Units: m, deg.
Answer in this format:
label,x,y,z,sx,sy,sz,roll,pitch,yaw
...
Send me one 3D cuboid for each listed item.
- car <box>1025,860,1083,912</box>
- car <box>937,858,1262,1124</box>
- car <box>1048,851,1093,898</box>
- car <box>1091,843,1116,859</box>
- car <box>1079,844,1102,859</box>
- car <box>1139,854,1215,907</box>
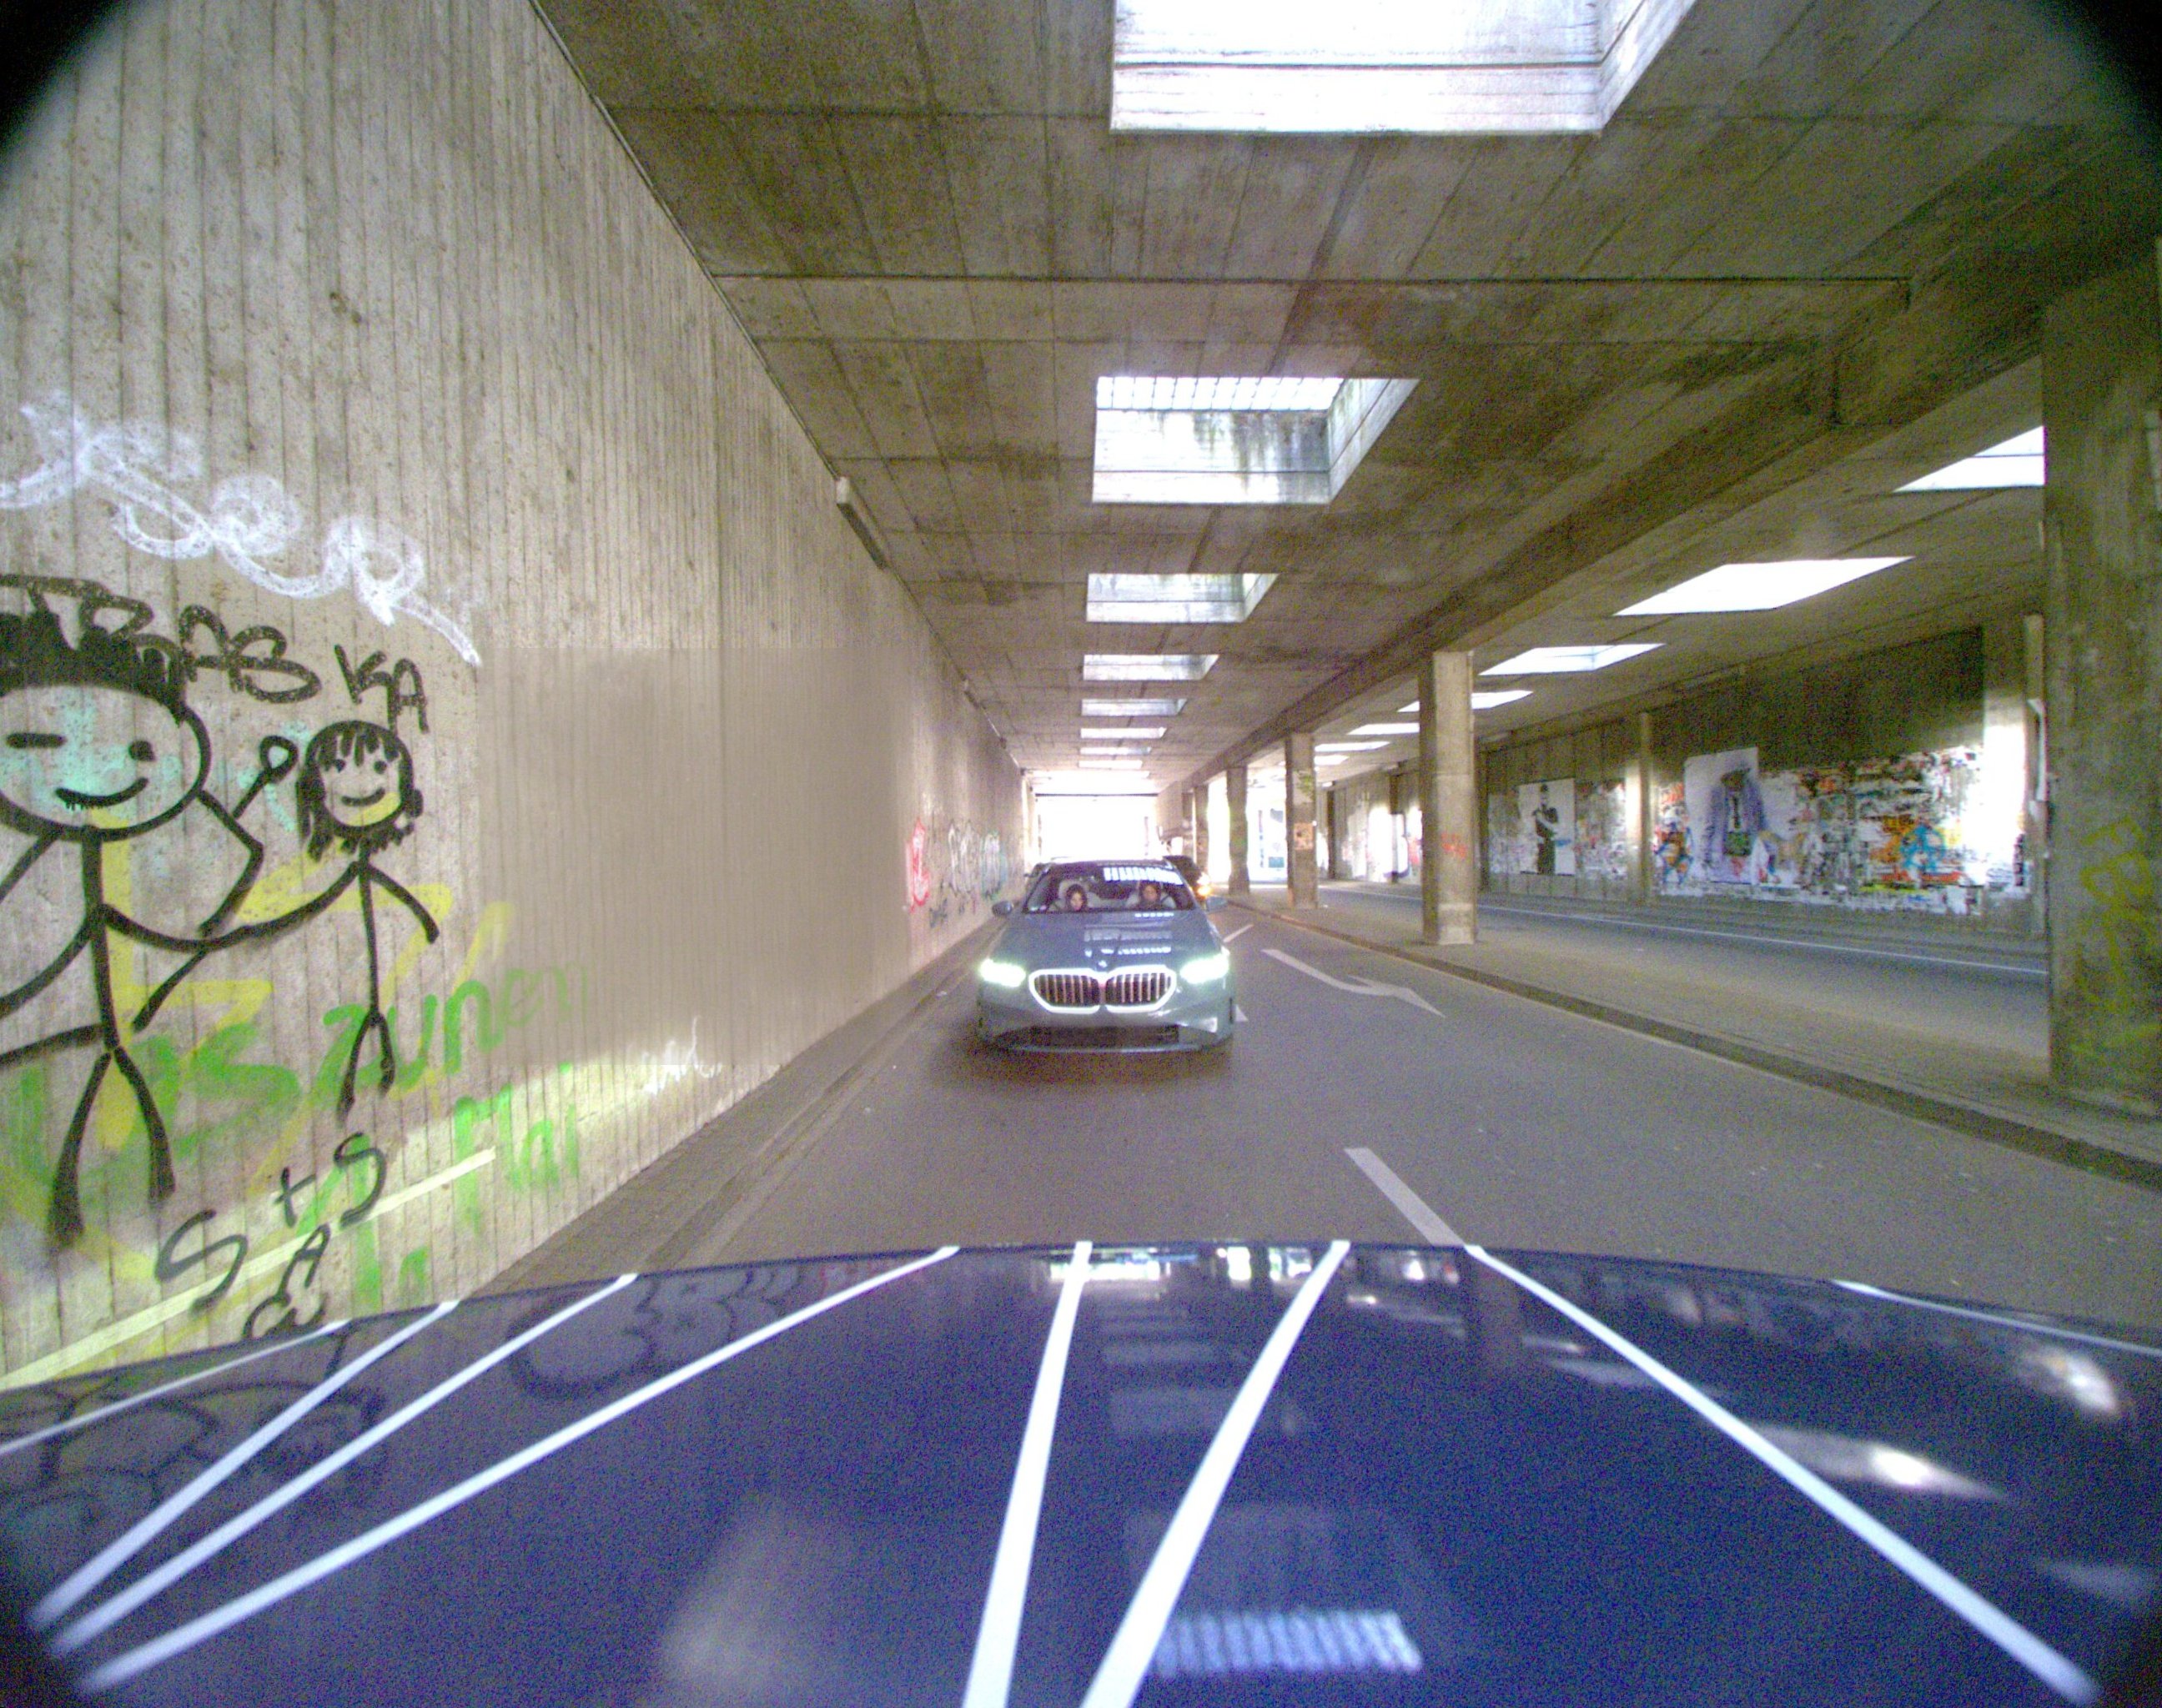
label,x,y,z,sx,sy,sz,roll,pitch,yaw
car,-0.783,0.942,23.906,1.593,1.387,3.833,-2,0,1
car,0.191,0.878,7.332,1.998,1.594,5.176,-1,0,2
car,-0.360,0.761,29.913,1.581,1.676,4.078,-2,0,1
car,2.872,-0.347,97.544,2.361,2.002,5.146,-1,0,-8
car,1.219,-0.354,103.557,2.361,2.002,5.146,-1,0,-8
car,2.903,0.759,23.748,1.784,1.438,4.178,-2,0,0
